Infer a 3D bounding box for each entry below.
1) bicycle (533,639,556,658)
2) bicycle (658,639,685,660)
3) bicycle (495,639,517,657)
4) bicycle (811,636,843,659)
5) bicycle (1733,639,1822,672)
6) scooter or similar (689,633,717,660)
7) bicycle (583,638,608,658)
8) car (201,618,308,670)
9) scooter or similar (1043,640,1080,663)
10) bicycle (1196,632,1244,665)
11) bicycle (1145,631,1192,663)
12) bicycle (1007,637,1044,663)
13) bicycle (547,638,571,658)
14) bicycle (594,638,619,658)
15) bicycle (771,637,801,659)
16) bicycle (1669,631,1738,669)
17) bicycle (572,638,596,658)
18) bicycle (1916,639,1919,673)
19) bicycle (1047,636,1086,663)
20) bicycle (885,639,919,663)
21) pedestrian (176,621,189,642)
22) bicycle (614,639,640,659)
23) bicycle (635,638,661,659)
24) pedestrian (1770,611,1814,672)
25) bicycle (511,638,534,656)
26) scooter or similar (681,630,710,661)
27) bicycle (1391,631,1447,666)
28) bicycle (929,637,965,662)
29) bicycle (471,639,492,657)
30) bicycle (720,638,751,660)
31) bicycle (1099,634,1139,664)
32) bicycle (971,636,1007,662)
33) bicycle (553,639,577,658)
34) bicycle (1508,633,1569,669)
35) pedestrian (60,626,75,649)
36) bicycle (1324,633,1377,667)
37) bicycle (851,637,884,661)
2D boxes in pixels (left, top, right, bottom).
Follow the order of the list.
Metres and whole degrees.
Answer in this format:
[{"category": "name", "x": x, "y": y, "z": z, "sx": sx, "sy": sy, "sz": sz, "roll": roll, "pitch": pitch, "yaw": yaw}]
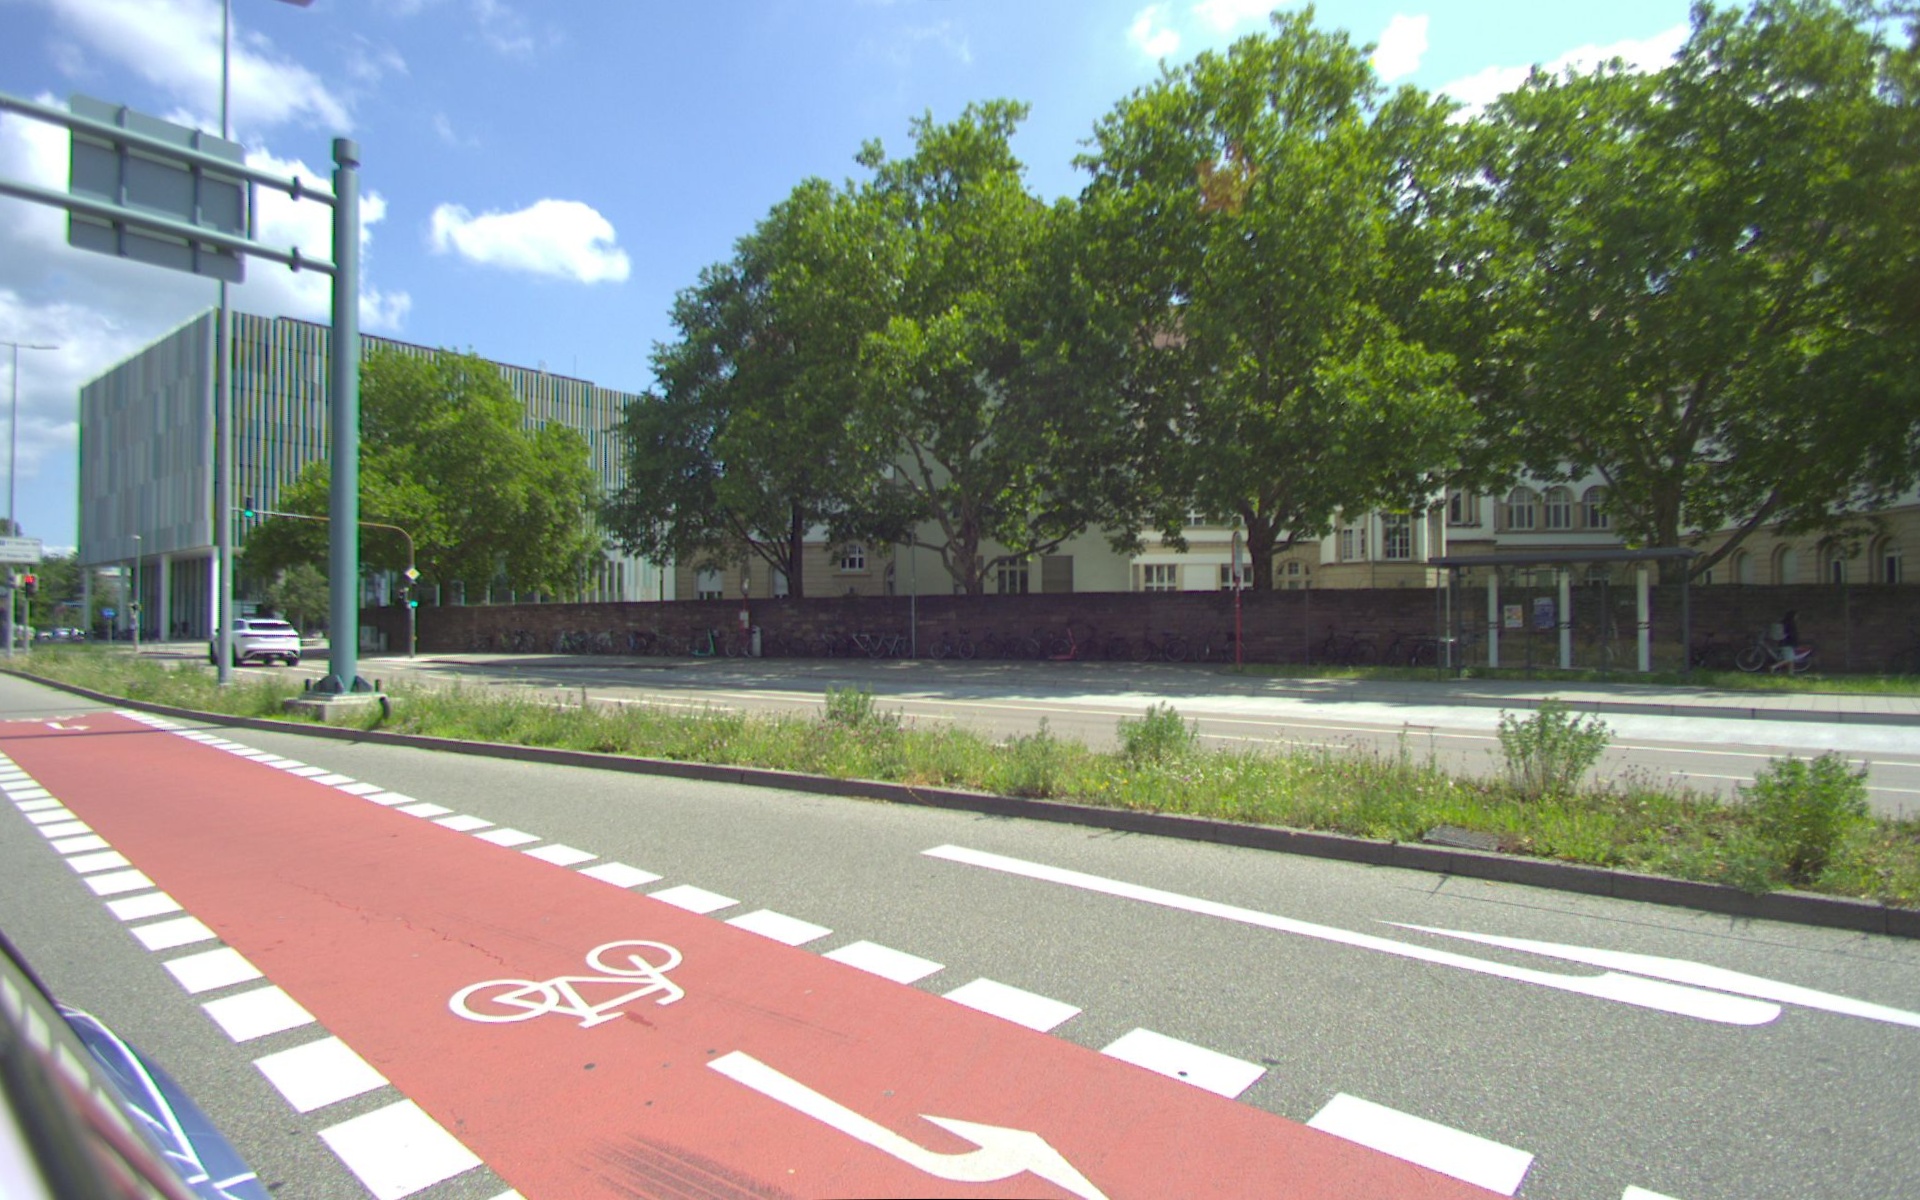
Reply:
[{"category": "bicycle", "x": -18.592, "y": 2.173, "z": 45.306, "sx": 1.230, "sy": 0.837, "sz": 0.262, "roll": -1, "pitch": -2, "yaw": 29}, {"category": "bicycle", "x": -11.547, "y": 1.976, "z": 40.566, "sx": 1.231, "sy": 0.837, "sz": 0.262, "roll": -2, "pitch": -2, "yaw": 30}, {"category": "bicycle", "x": -21.053, "y": 2.222, "z": 46.957, "sx": 1.231, "sy": 0.837, "sz": 0.262, "roll": -2, "pitch": -2, "yaw": 30}, {"category": "bicycle", "x": -4.840, "y": 1.720, "z": 36.850, "sx": 1.231, "sy": 0.837, "sz": 0.262, "roll": -1, "pitch": -2, "yaw": 30}, {"category": "bicycle", "x": 20.747, "y": 1.412, "z": 25.717, "sx": 1.734, "sy": 0.823, "sz": 0.327, "roll": -1, "pitch": -2, "yaw": 18}, {"category": "scooter or similar", "x": -10.141, "y": 1.833, "z": 39.916, "sx": 1.133, "sy": 1.028, "sz": 0.264, "roll": -1, "pitch": -2, "yaw": 19}, {"category": "bicycle", "x": -15.327, "y": 2.014, "z": 42.552, "sx": 1.230, "sy": 0.837, "sz": 0.262, "roll": -1, "pitch": -2, "yaw": 29}, {"category": "car", "x": -24.945, "y": 1.519, "z": 35.726, "sx": 4.508, "sy": 1.724, "sz": 1.973, "roll": -2, "pitch": -2, "yaw": 40}, {"category": "scooter or similar", "x": 3.181, "y": 1.618, "z": 31.804, "sx": 1.133, "sy": 0.734, "sz": 0.264, "roll": -1, "pitch": -2, "yaw": 18}, {"category": "bicycle", "x": 7.809, "y": 1.450, "z": 30.413, "sx": 1.389, "sy": 0.972, "sz": 0.262, "roll": -1, "pitch": -2, "yaw": 28}, {"category": "bicycle", "x": 6.403, "y": 1.446, "z": 31.033, "sx": 1.385, "sy": 0.972, "sz": 0.263, "roll": -1, "pitch": -2, "yaw": 20}, {"category": "bicycle", "x": 2.135, "y": 1.618, "z": 33.065, "sx": 1.230, "sy": 0.837, "sz": 0.262, "roll": -1, "pitch": -2, "yaw": 28}, {"category": "bicycle", "x": -17.454, "y": 2.084, "z": 44.008, "sx": 1.230, "sy": 0.837, "sz": 0.262, "roll": -1, "pitch": -2, "yaw": 29}, {"category": "bicycle", "x": -15.000, "y": 2.027, "z": 42.887, "sx": 1.231, "sy": 0.837, "sz": 0.262, "roll": -2, "pitch": -2, "yaw": 30}, {"category": "bicycle", "x": -6.467, "y": 1.780, "z": 37.563, "sx": 1.231, "sy": 0.837, "sz": 0.262, "roll": -1, "pitch": -2, "yaw": 30}, {"category": "bicycle", "x": 19.235, "y": 1.302, "z": 26.192, "sx": 1.384, "sy": 0.972, "sz": 0.263, "roll": -1, "pitch": -2, "yaw": 18}, {"category": "bicycle", "x": -16.260, "y": 2.058, "z": 43.729, "sx": 1.231, "sy": 0.837, "sz": 0.262, "roll": -2, "pitch": -2, "yaw": 30}, {"category": "bicycle", "x": 24.443, "y": 1.363, "z": 24.598, "sx": 1.734, "sy": 0.823, "sz": 0.382, "roll": -1, "pitch": -2, "yaw": 18}, {"category": "bicycle", "x": 3.412, "y": 1.590, "z": 32.453, "sx": 1.230, "sy": 0.837, "sz": 0.262, "roll": -1, "pitch": -2, "yaw": 28}, {"category": "bicycle", "x": -2.012, "y": 1.759, "z": 35.112, "sx": 1.231, "sy": 0.837, "sz": 0.262, "roll": -1, "pitch": -2, "yaw": 30}, {"category": "pedestrian", "x": -76.325, "y": 3.064, "z": 99.328, "sx": 0.994, "sy": 2.029, "sz": 0.853, "roll": -2, "pitch": -2, "yaw": 40}, {"category": "bicycle", "x": -13.893, "y": 2.036, "z": 42.195, "sx": 1.231, "sy": 0.837, "sz": 0.262, "roll": -2, "pitch": -2, "yaw": 30}, {"category": "bicycle", "x": -12.800, "y": 1.998, "z": 41.523, "sx": 1.231, "sy": 0.837, "sz": 0.262, "roll": -2, "pitch": -2, "yaw": 30}, {"category": "pedestrian", "x": 19.824, "y": 0.984, "z": 24.139, "sx": 0.726, "sy": 1.405, "sz": 0.712, "roll": -2, "pitch": -2, "yaw": 36}, {"category": "bicycle", "x": -19.966, "y": 2.135, "z": 46.201, "sx": 1.230, "sy": 0.837, "sz": 0.262, "roll": -1, "pitch": -2, "yaw": 29}, {"category": "scooter or similar", "x": -10.194, "y": 1.744, "z": 38.955, "sx": 1.230, "sy": 1.199, "sz": 0.262, "roll": -1, "pitch": -2, "yaw": 29}, {"category": "bicycle", "x": 12.866, "y": 1.361, "z": 28.416, "sx": 1.384, "sy": 0.972, "sz": 0.263, "roll": -1, "pitch": -2, "yaw": 18}, {"category": "bicycle", "x": -0.453, "y": 1.679, "z": 34.212, "sx": 1.230, "sy": 0.837, "sz": 0.262, "roll": -1, "pitch": -2, "yaw": 28}, {"category": "bicycle", "x": -22.688, "y": 2.282, "z": 47.954, "sx": 1.231, "sy": 0.837, "sz": 0.262, "roll": -2, "pitch": -2, "yaw": 30}, {"category": "bicycle", "x": -8.643, "y": 1.895, "z": 38.945, "sx": 1.226, "sy": 0.837, "sz": 0.263, "roll": -1, "pitch": -2, "yaw": 19}, {"category": "bicycle", "x": 4.964, "y": 1.531, "z": 31.624, "sx": 1.230, "sy": 0.915, "sz": 0.262, "roll": -1, "pitch": -2, "yaw": 28}, {"category": "bicycle", "x": 0.963, "y": 1.637, "z": 33.715, "sx": 1.230, "sy": 0.837, "sz": 0.262, "roll": -1, "pitch": -2, "yaw": 28}, {"category": "bicycle", "x": -17.403, "y": 2.121, "z": 44.556, "sx": 1.230, "sy": 0.837, "sz": 0.262, "roll": -1, "pitch": -2, "yaw": 29}, {"category": "bicycle", "x": 15.633, "y": 1.375, "z": 27.384, "sx": 1.384, "sy": 0.972, "sz": 0.263, "roll": -1, "pitch": -2, "yaw": 18}, {"category": "pedestrian", "x": -79.390, "y": 3.299, "z": 90.007, "sx": 0.994, "sy": 2.029, "sz": 0.853, "roll": -2, "pitch": -2, "yaw": 39}, {"category": "bicycle", "x": 11.182, "y": 1.434, "z": 29.028, "sx": 1.384, "sy": 0.972, "sz": 0.263, "roll": -1, "pitch": -2, "yaw": 18}, {"category": "bicycle", "x": -3.288, "y": 1.742, "z": 35.906, "sx": 1.231, "sy": 0.837, "sz": 0.262, "roll": -1, "pitch": -2, "yaw": 30}]
